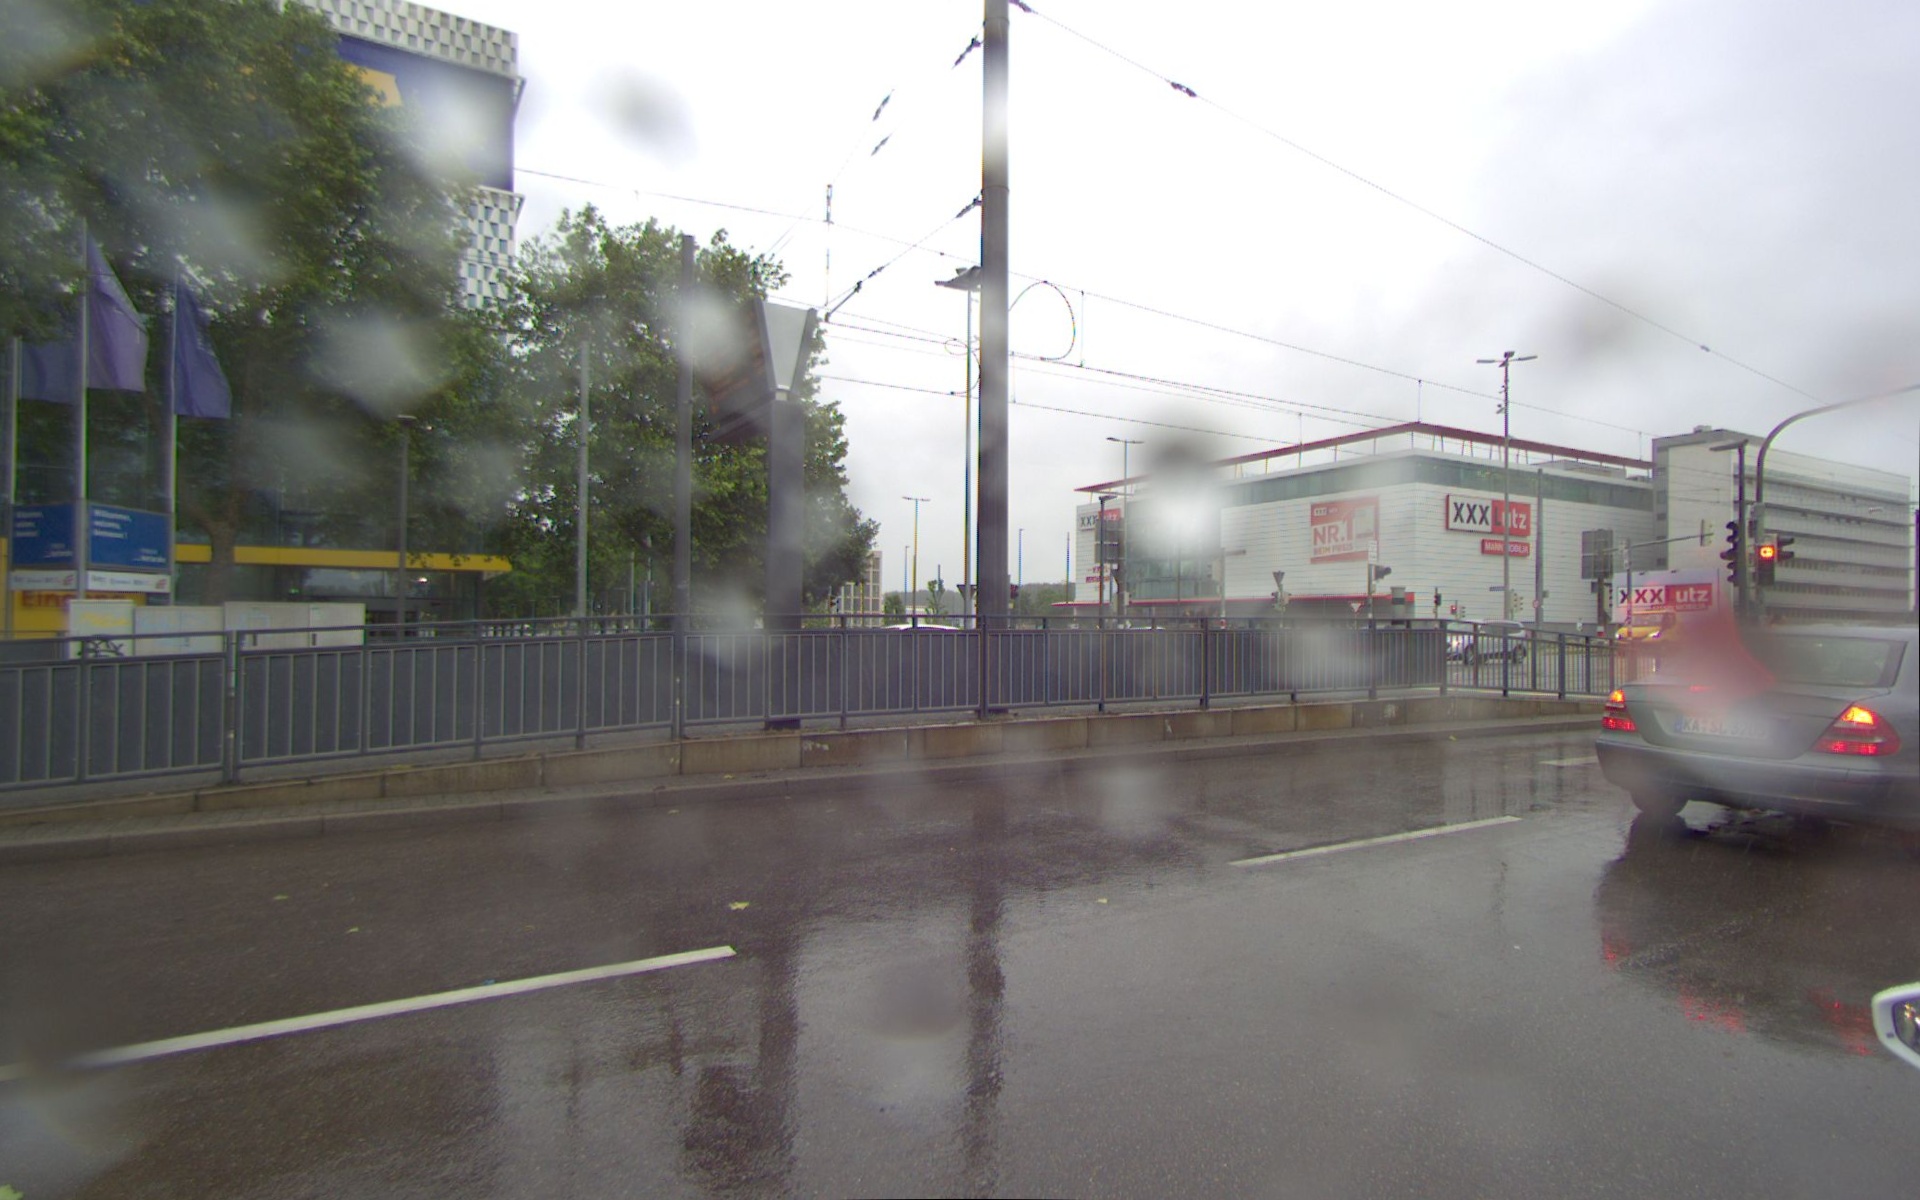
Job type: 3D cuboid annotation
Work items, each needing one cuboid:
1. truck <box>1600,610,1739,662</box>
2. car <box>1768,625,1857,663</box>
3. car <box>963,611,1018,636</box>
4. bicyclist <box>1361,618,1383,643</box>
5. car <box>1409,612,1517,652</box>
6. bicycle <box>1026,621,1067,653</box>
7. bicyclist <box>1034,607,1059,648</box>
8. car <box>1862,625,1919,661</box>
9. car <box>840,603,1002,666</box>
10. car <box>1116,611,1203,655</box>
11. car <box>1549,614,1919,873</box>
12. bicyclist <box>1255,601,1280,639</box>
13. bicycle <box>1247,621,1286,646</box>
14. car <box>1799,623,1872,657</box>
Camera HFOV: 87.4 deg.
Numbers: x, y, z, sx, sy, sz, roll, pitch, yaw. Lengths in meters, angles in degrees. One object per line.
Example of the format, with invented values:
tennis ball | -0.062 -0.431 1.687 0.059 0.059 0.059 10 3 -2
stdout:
truck | 34.557 1.769 48.872 7.536 2.309 2.342 2 0 -28
car | 41.657 2.140 49.103 3.947 1.722 1.886 2 0 -26
car | 2.120 1.629 70.212 3.723 1.645 2.001 2 0 2
bicyclist | 19.453 1.439 47.436 0.639 1.149 0.681 2 0 -29
car | 18.504 1.175 36.929 3.780 1.354 1.582 2 0 -26
bicycle | 3.044 1.314 35.460 1.493 1.075 0.408 2 0 -33
bicyclist | 3.046 0.984 35.450 0.643 1.418 0.529 2 0 -33
car | 50.990 2.343 54.515 3.952 1.821 1.838 4 -2 -29
car | -0.990 0.885 25.879 3.830 1.512 1.690 2 0 -30
car | 9.974 1.619 50.515 1.976 2.040 4.295 2 0 -29
car | 6.635 0.894 7.578 4.591 1.417 1.754 2 0 -30
bicyclist | 12.379 0.804 40.437 0.639 1.483 0.681 2 0 -29
bicycle | 12.320 1.351 40.403 1.688 1.000 0.448 2 0 -30
car | 50.151 2.280 57.541 3.488 1.682 1.726 4 -1 -23
